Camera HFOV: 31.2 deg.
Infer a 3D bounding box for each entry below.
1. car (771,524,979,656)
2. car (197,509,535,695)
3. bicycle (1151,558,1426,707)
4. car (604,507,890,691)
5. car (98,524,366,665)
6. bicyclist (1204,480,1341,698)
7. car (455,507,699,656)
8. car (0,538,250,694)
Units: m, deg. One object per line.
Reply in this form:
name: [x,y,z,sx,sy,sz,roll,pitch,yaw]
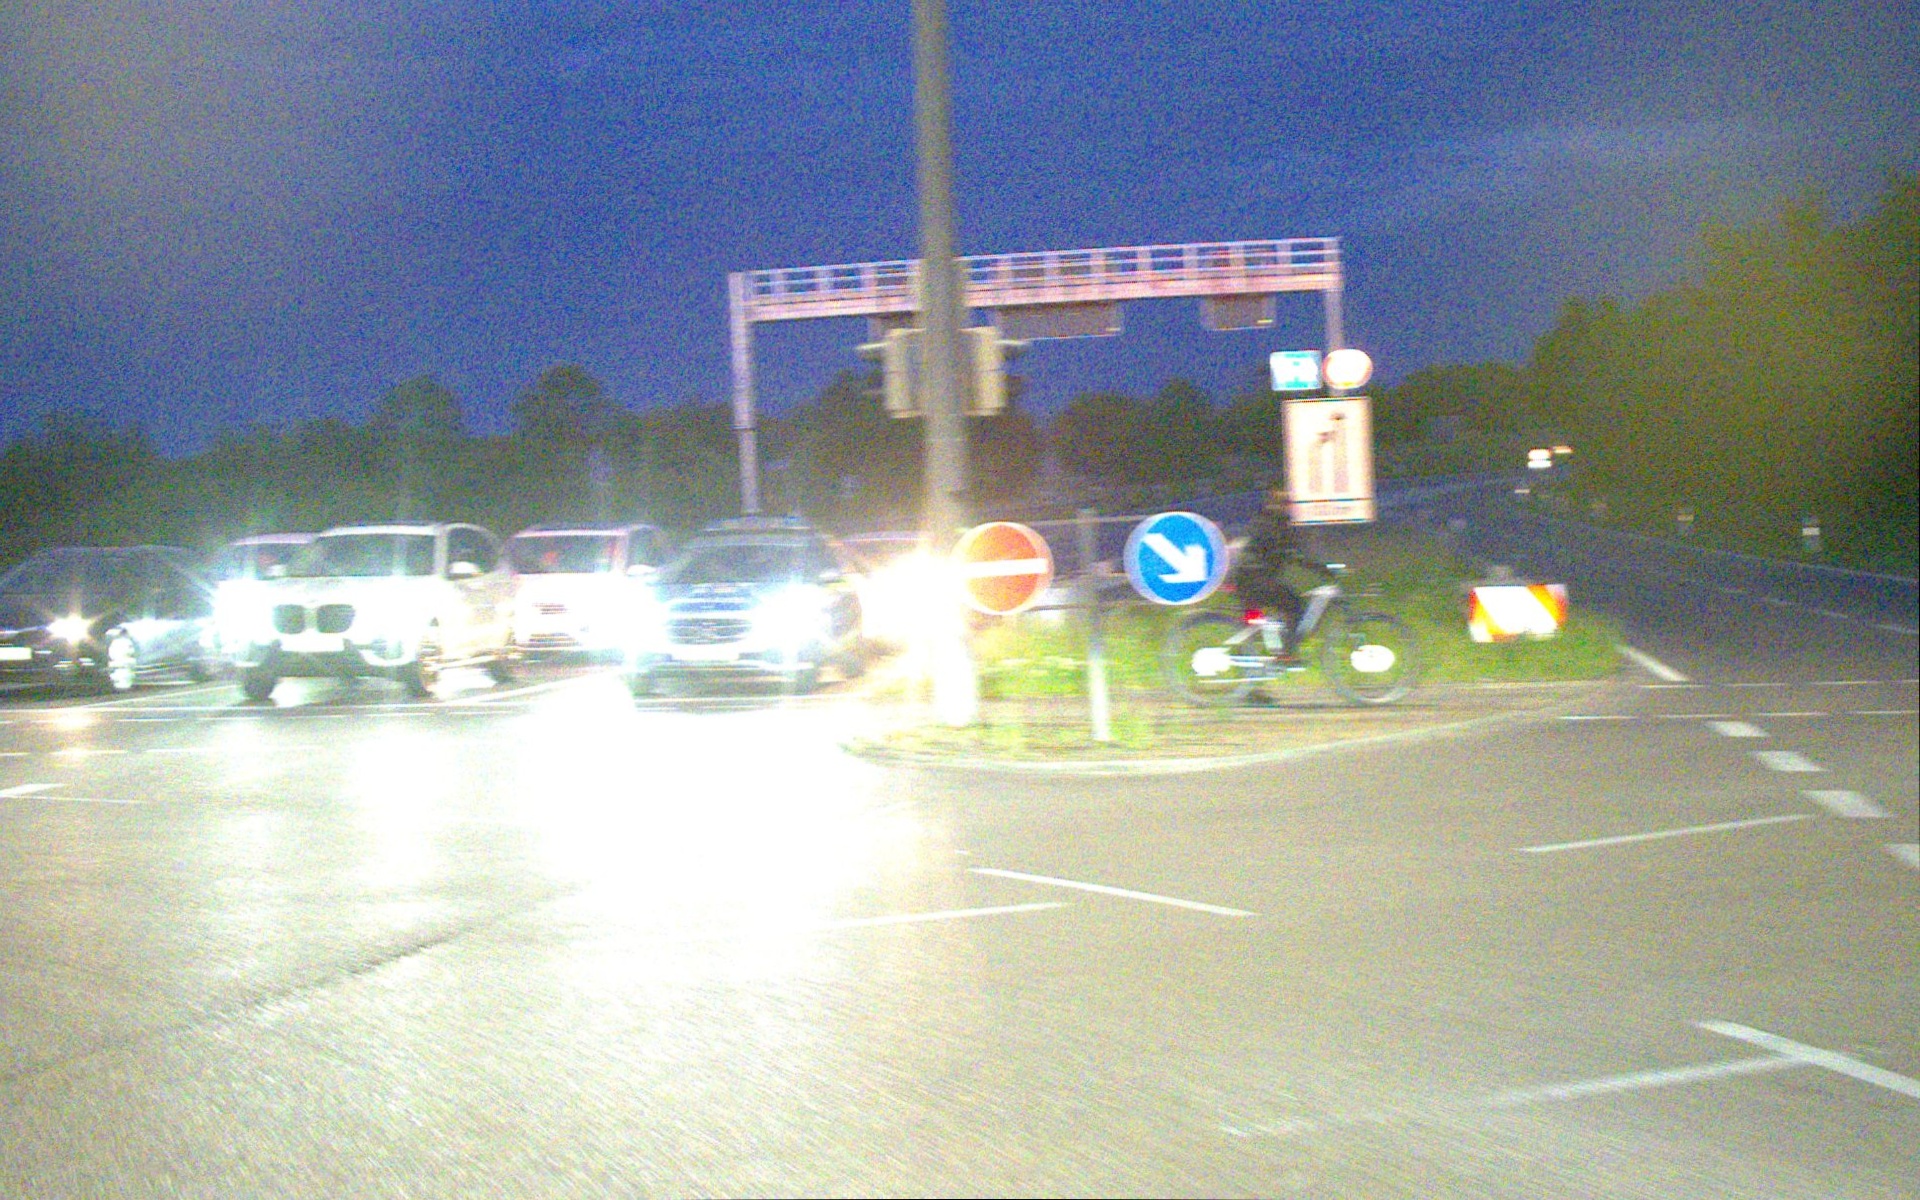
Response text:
car: [-0.960,-0.151,41.041,1.774,1.476,3.909,0,1,9]
car: [-5.730,-0.035,33.743,1.909,1.676,4.419,-1,2,9]
bicycle: [2.519,0.245,26.519,2.061,1.097,0.695,-1,1,3]
car: [-1.992,-0.066,33.571,1.852,1.627,4.584,-1,2,8]
car: [-8.687,-0.103,41.361,1.832,1.519,3.999,-2,1,8]
bicyclist: [2.407,-0.088,26.532,0.997,1.645,0.604,-1,1,3]
car: [-4.470,-0.264,40.802,1.746,1.621,4.361,-1,2,9]
car: [-8.976,0.121,35.363,1.781,1.441,4.289,-1,2,10]
